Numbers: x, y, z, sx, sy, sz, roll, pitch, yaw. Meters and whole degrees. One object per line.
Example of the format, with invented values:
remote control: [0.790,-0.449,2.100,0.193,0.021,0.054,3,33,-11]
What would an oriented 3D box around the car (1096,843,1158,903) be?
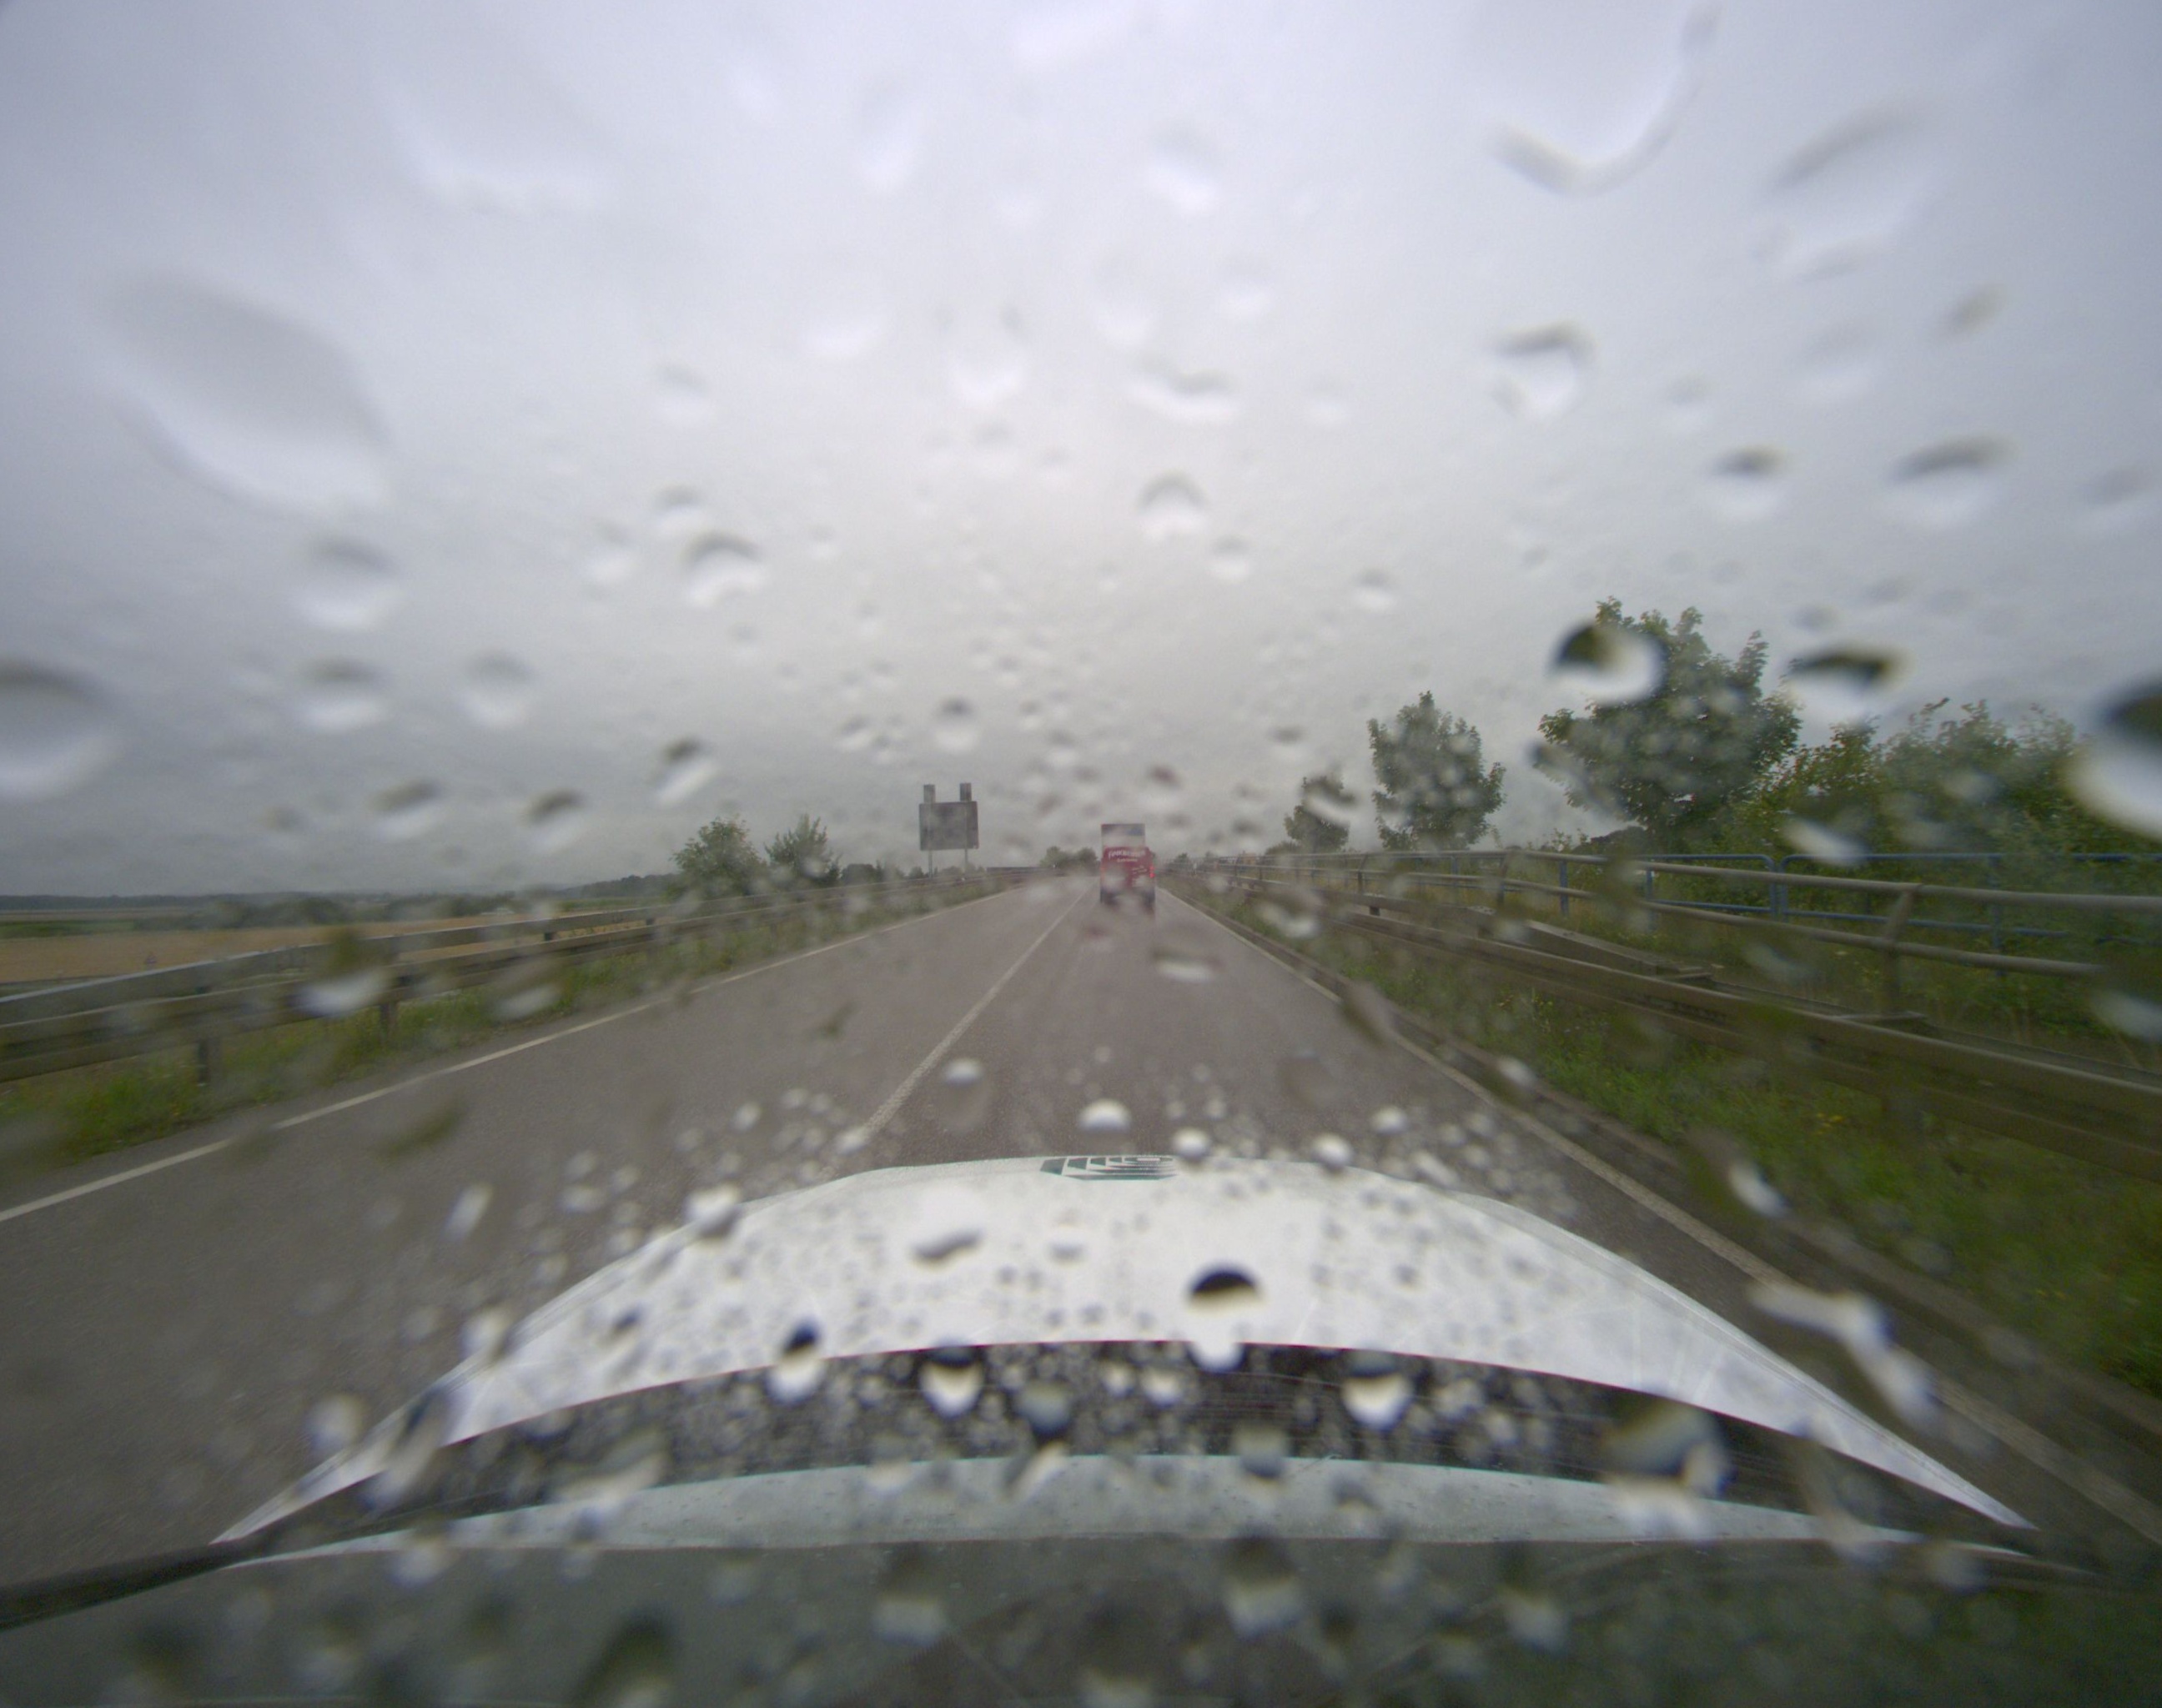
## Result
car: [1.560,0.619,28.571,1.986,1.926,4.145,0,0,2]

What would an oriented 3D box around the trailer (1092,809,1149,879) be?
trailer: [2.560,-0.462,50.663,3.187,3.922,8.748,1,-1,4]
